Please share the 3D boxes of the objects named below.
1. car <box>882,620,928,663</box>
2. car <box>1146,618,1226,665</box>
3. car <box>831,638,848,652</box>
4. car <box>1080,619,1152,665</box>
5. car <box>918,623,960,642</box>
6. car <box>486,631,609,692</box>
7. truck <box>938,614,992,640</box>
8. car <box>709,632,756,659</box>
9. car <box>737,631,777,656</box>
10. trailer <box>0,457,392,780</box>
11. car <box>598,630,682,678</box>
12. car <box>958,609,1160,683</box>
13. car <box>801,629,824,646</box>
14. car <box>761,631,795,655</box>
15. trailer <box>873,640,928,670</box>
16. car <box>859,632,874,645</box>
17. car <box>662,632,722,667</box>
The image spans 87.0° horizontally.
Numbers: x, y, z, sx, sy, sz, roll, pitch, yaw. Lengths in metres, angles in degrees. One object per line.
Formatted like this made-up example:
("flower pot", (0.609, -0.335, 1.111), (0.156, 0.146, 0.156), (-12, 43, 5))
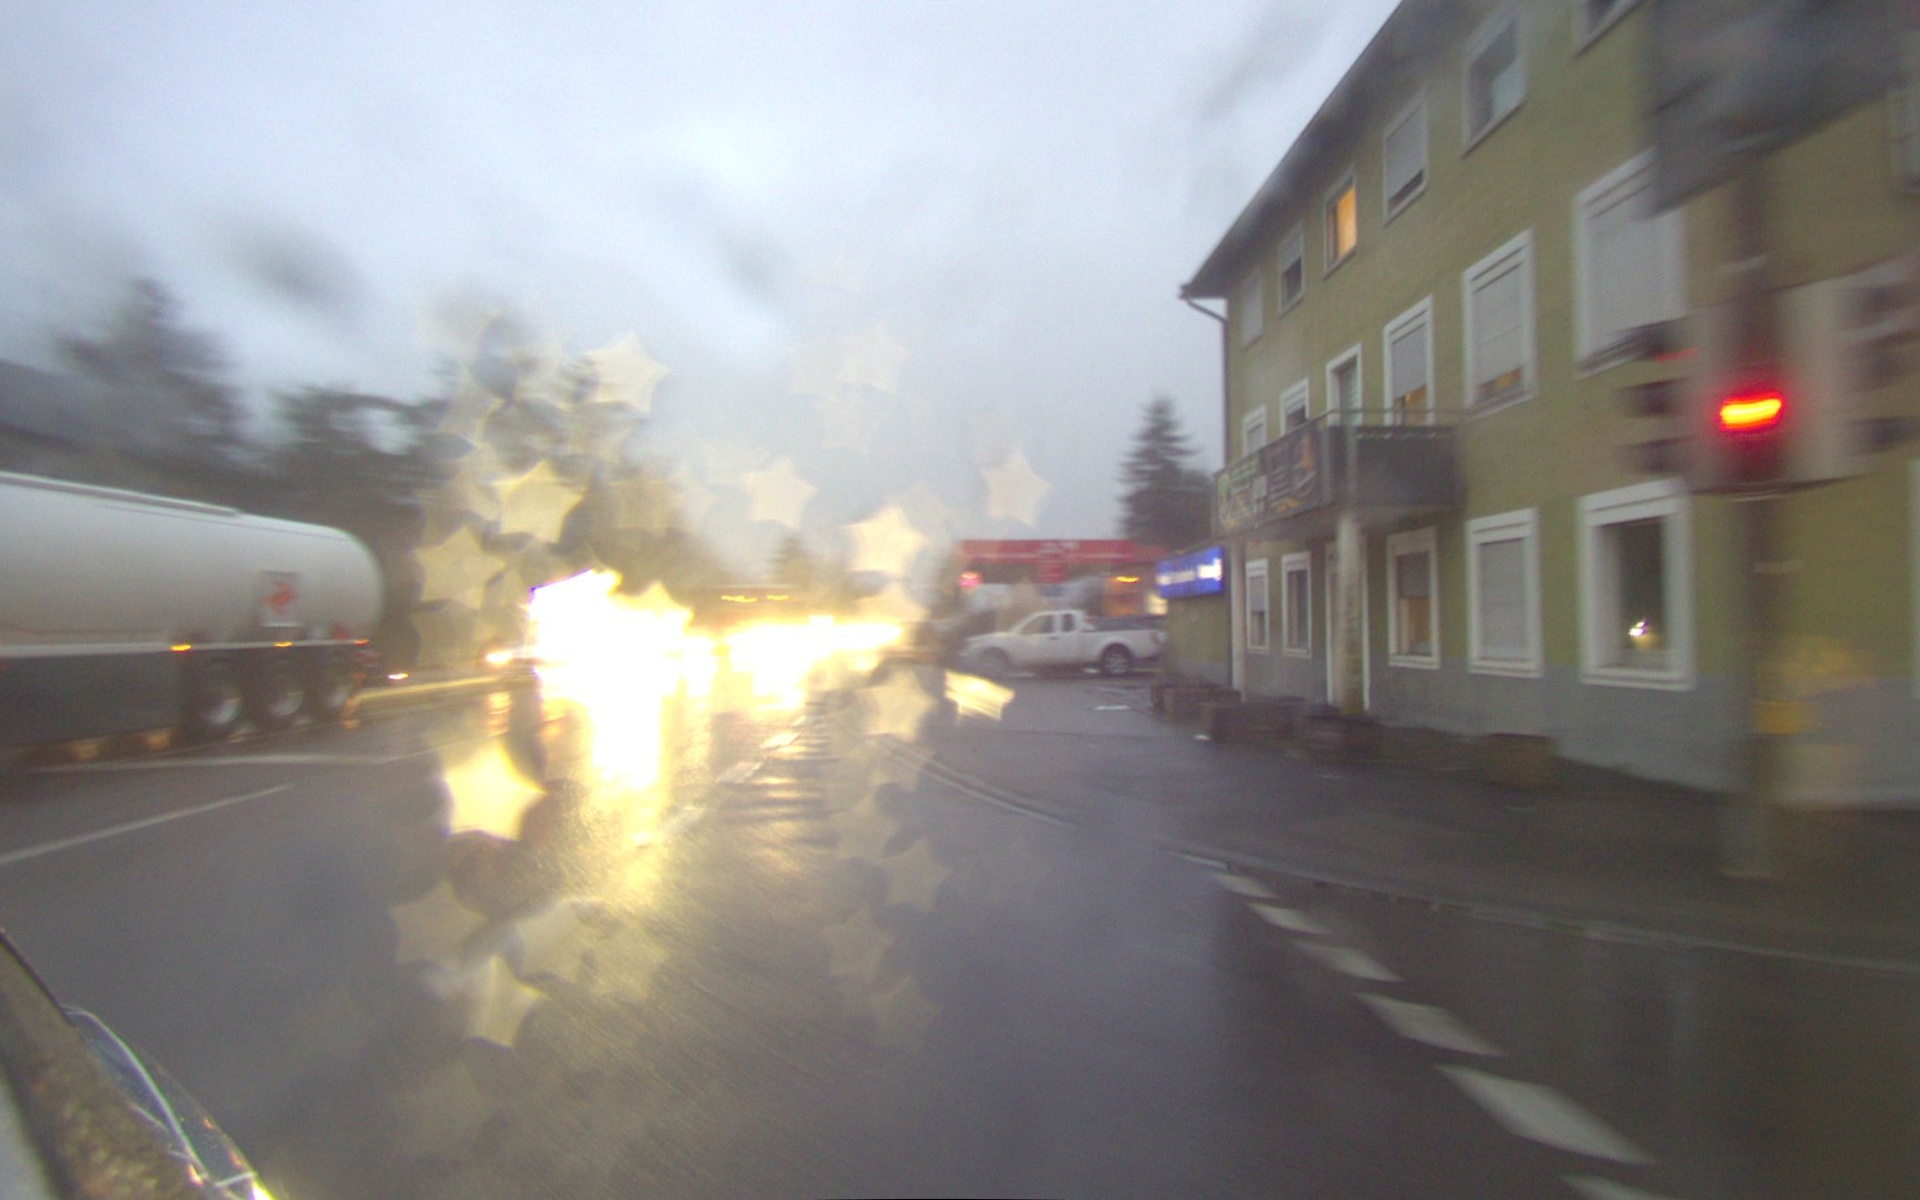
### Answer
("car", (-2.431, 1.842, 45.690), (1.948, 1.844, 4.513), (0, -2, -2))
("car", (8.451, 1.532, 38.173), (1.971, 1.637, 4.002), (0, -1, -2))
("car", (-14.117, 5.262, 118.958), (1.986, 1.504, 4.005), (-1, -2, -6))
("car", (5.904, 1.565, 38.697), (1.971, 1.637, 4.002), (0, -1, -2))
("car", (-3.052, 4.720, 148.056), (6.088, 2.652, 2.176), (1, -2, -1))
("car", (-11.011, 1.599, 27.338), (1.643, 1.450, 4.383), (-2, -1, -2))
("truck", (0.616, 3.505, 129.792), (6.780, 3.166, 2.335), (-1, -2, -2))
("car", (-11.977, 2.381, 53.587), (1.635, 1.346, 4.273), (-1, -2, -2))
("car", (-12.468, 2.660, 62.339), (1.622, 1.377, 4.770), (-1, -1, -1))
("trailer", (-11.018, 0.266, 12.341), (2.459, 3.265, 10.873), (-1, -1, -2))
("car", (-11.747, 1.952, 37.444), (1.815, 1.580, 4.505), (-2, -1, -2))
("car", (2.529, 1.202, 26.884), (5.134, 1.804, 1.999), (-1, -1, 1))
("car", (-13.542, 3.431, 93.165), (1.986, 1.504, 4.005), (-1, -2, -6))
("car", (-12.748, 2.977, 71.109), (1.689, 1.588, 4.465), (-1, -2, -1))
("trailer", (-2.290, 2.159, 40.344), (1.971, 1.047, 6.105), (0, -2, -2))
("car", (-13.095, 5.408, 141.966), (1.863, 1.640, 4.003), (-1, -2, -4))
("car", (-12.121, 2.203, 45.946), (1.683, 1.483, 4.272), (-2, -2, -2))
